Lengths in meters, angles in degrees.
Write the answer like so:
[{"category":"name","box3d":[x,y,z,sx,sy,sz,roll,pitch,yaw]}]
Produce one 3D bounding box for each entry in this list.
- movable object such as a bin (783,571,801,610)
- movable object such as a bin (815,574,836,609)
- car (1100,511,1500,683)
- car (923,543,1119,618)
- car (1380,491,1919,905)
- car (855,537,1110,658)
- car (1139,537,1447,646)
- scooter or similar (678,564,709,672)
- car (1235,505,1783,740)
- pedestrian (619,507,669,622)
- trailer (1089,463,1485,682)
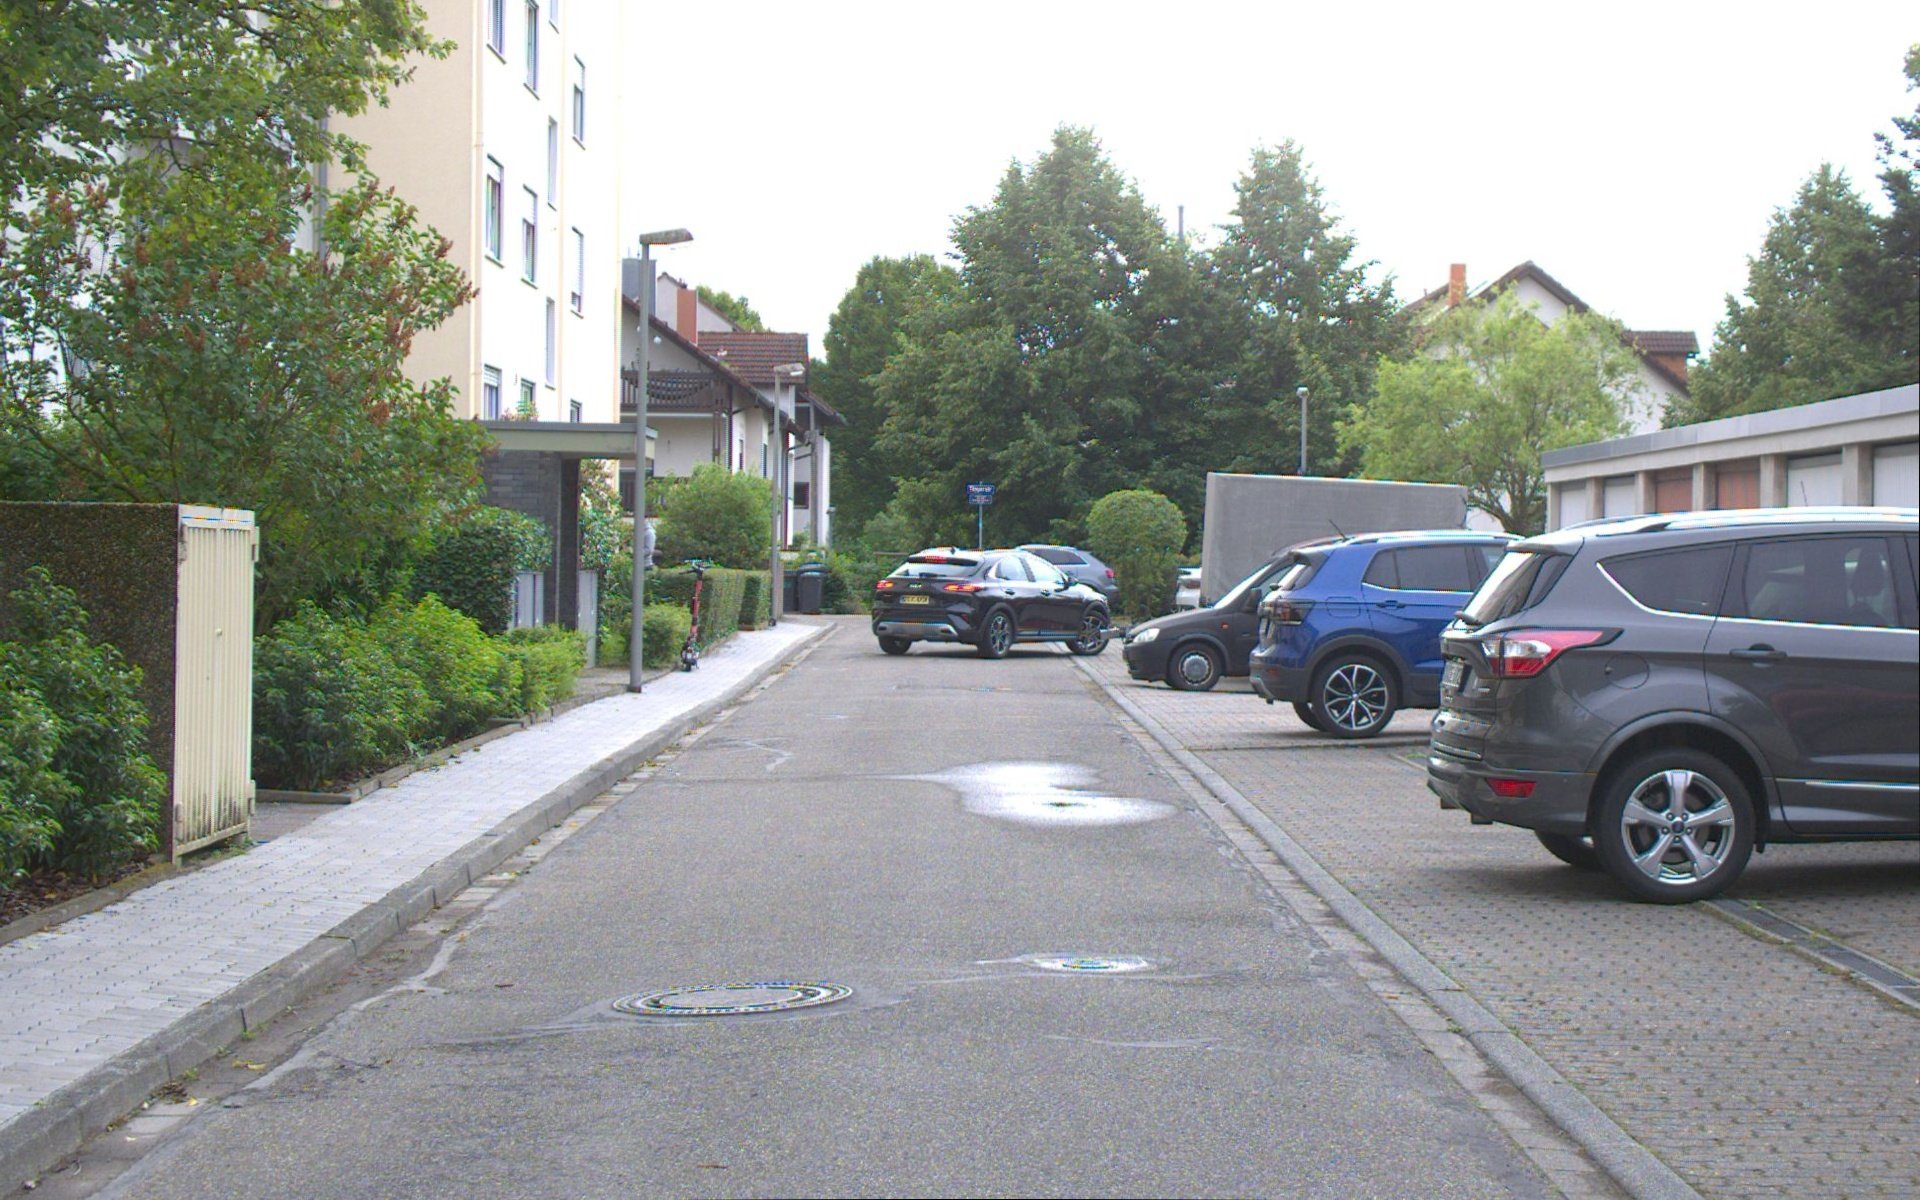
[{"category":"movable object such as a bin","box3d":[-3.859,-0.212,79.181,0.386,0.886,0.379,2,1,-2]},{"category":"movable object such as a bin","box3d":[-3.102,-0.200,79.522,0.459,0.795,0.379,2,1,-2]},{"category":"car","box3d":[3.828,-0.054,39.275,4.310,1.795,2.000,-2,1,-1]},{"category":"car","box3d":[1.326,-0.422,75.662,4.237,1.526,1.747,1,-1,0]},{"category":"car","box3d":[4.174,0.371,15.737,4.195,1.721,2.000,-2,1,-1]},{"category":"car","box3d":[0.365,-0.060,47.905,1.996,1.546,3.995,-1,1,26]},{"category":"car","box3d":[5.031,-0.149,52.419,4.537,1.583,1.988,1,1,2]},{"category":"scooter or similar","box3d":[-3.065,0.202,39.549,0.272,1.206,1.164,0,1,-1]},{"category":"car","box3d":[4.297,0.154,27.376,3.987,1.697,2.000,-2,1,-1]},{"category":"pedestrian","box3d":[-4.869,-0.544,52.975,0.679,1.743,0.756,2,1,-2]},{"category":"trailer","box3d":[3.934,-0.346,41.986,4.609,2.516,1.943,1,1,0]}]
